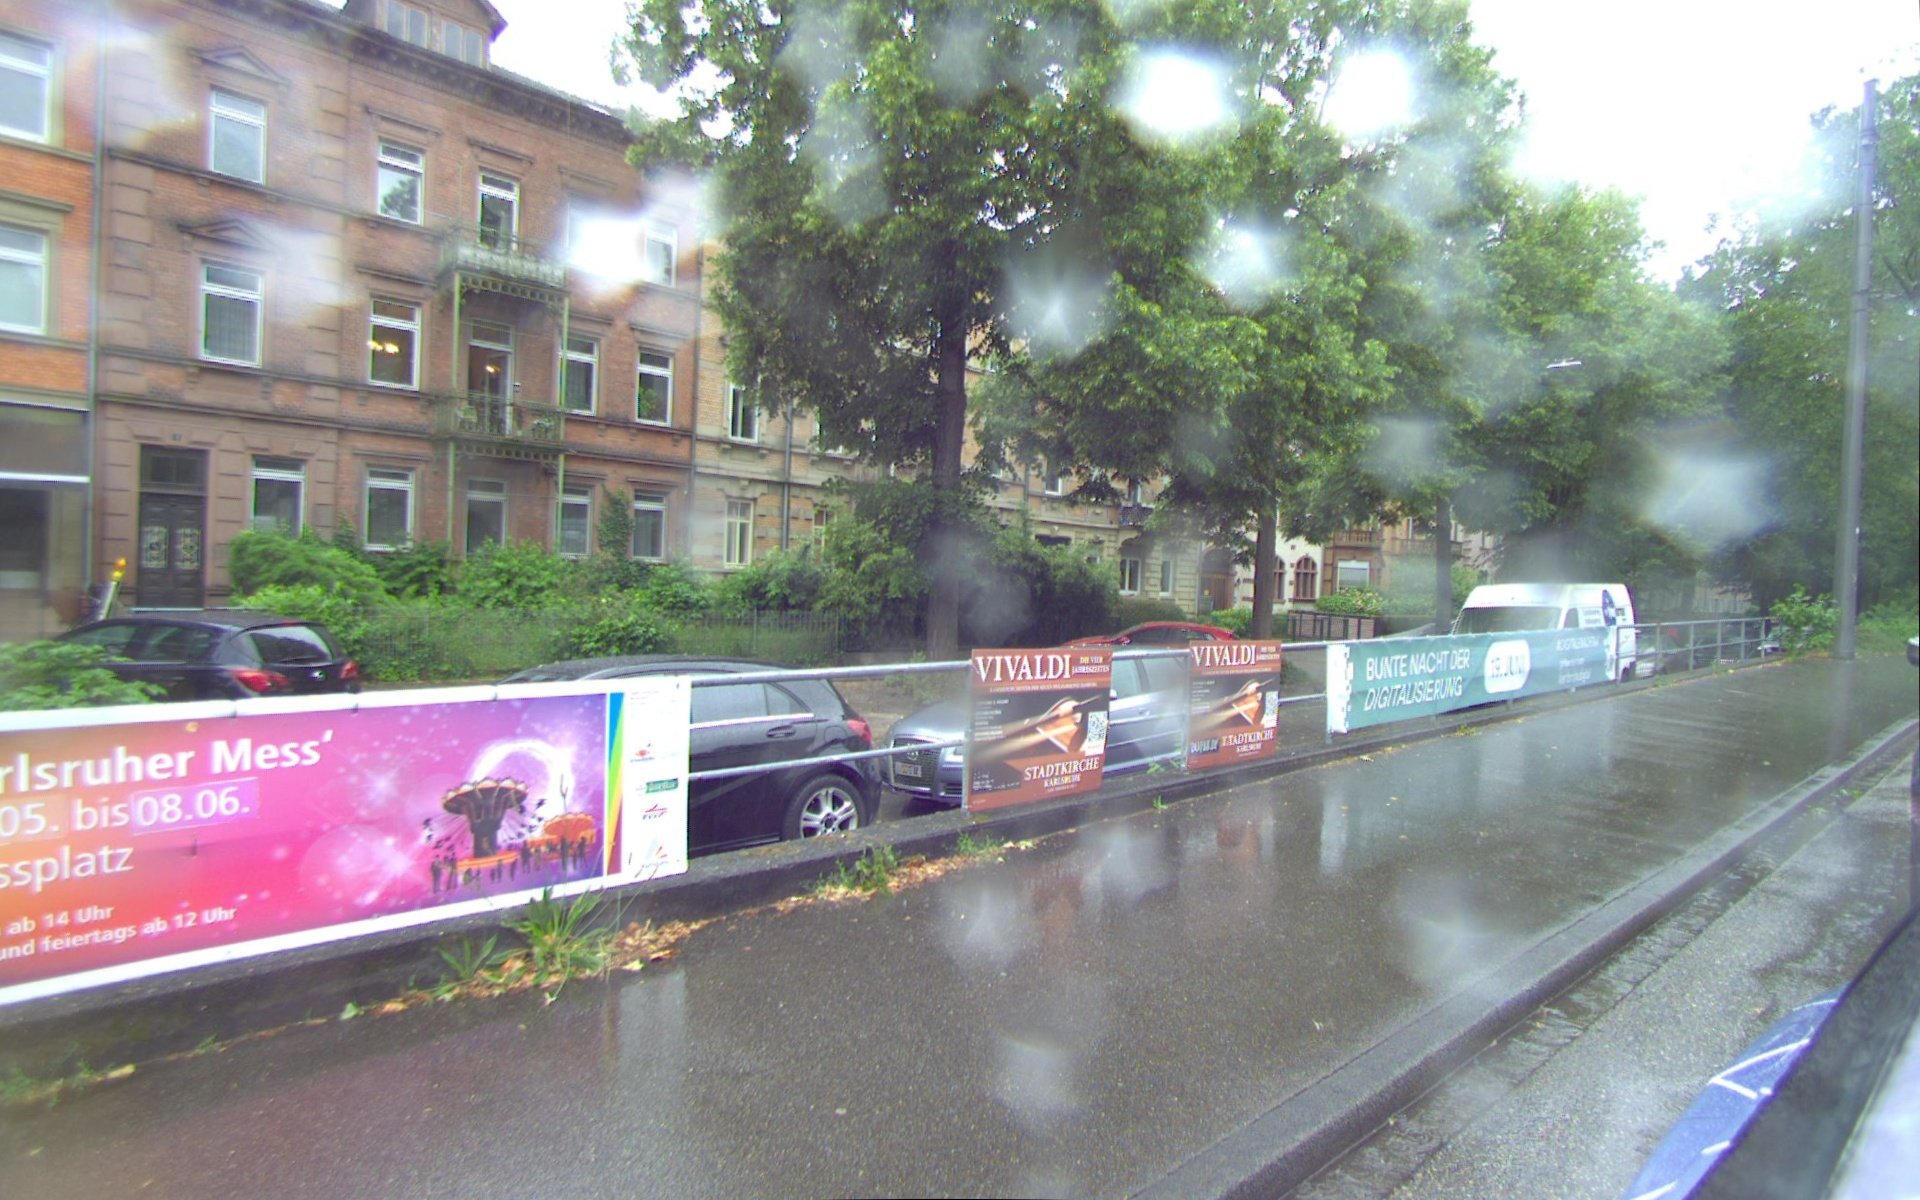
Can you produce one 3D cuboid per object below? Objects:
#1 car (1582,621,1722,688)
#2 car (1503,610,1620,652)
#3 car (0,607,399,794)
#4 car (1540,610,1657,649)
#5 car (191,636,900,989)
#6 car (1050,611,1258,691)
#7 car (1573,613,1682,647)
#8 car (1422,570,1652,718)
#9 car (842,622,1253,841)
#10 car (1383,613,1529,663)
[{"bbox_3d":[16.686,1.237,24.320,4.312,1.370,1.968,0,0,-44],"label":"car"},{"bbox_3d":[25.581,1.279,43.172,3.947,1.629,1.815,1,1,19],"label":"car"},{"bbox_3d":[-8.547,0.981,10.920,3.927,1.735,1.998,0,1,4],"label":"car"},{"bbox_3d":[28.490,1.300,45.294,3.942,1.585,1.991,0,1,15],"label":"car"},{"bbox_3d":[-2.451,1.031,6.520,3.903,1.417,1.706,0,1,-41],"label":"car"},{"bbox_3d":[4.383,1.078,22.730,4.372,1.471,1.888,2,1,18],"label":"car"},{"bbox_3d":[32.062,1.416,48.731,3.942,1.482,1.904,0,1,15],"label":"car"},{"bbox_3d":[11.355,0.723,19.665,6.055,2.451,2.211,0,0,-43],"label":"car"},{"bbox_3d":[0.988,1.055,9.775,4.006,1.559,1.734,0,0,-43],"label":"car"},{"bbox_3d":[16.502,1.228,33.891,4.214,1.397,1.679,2,2,22],"label":"car"}]
